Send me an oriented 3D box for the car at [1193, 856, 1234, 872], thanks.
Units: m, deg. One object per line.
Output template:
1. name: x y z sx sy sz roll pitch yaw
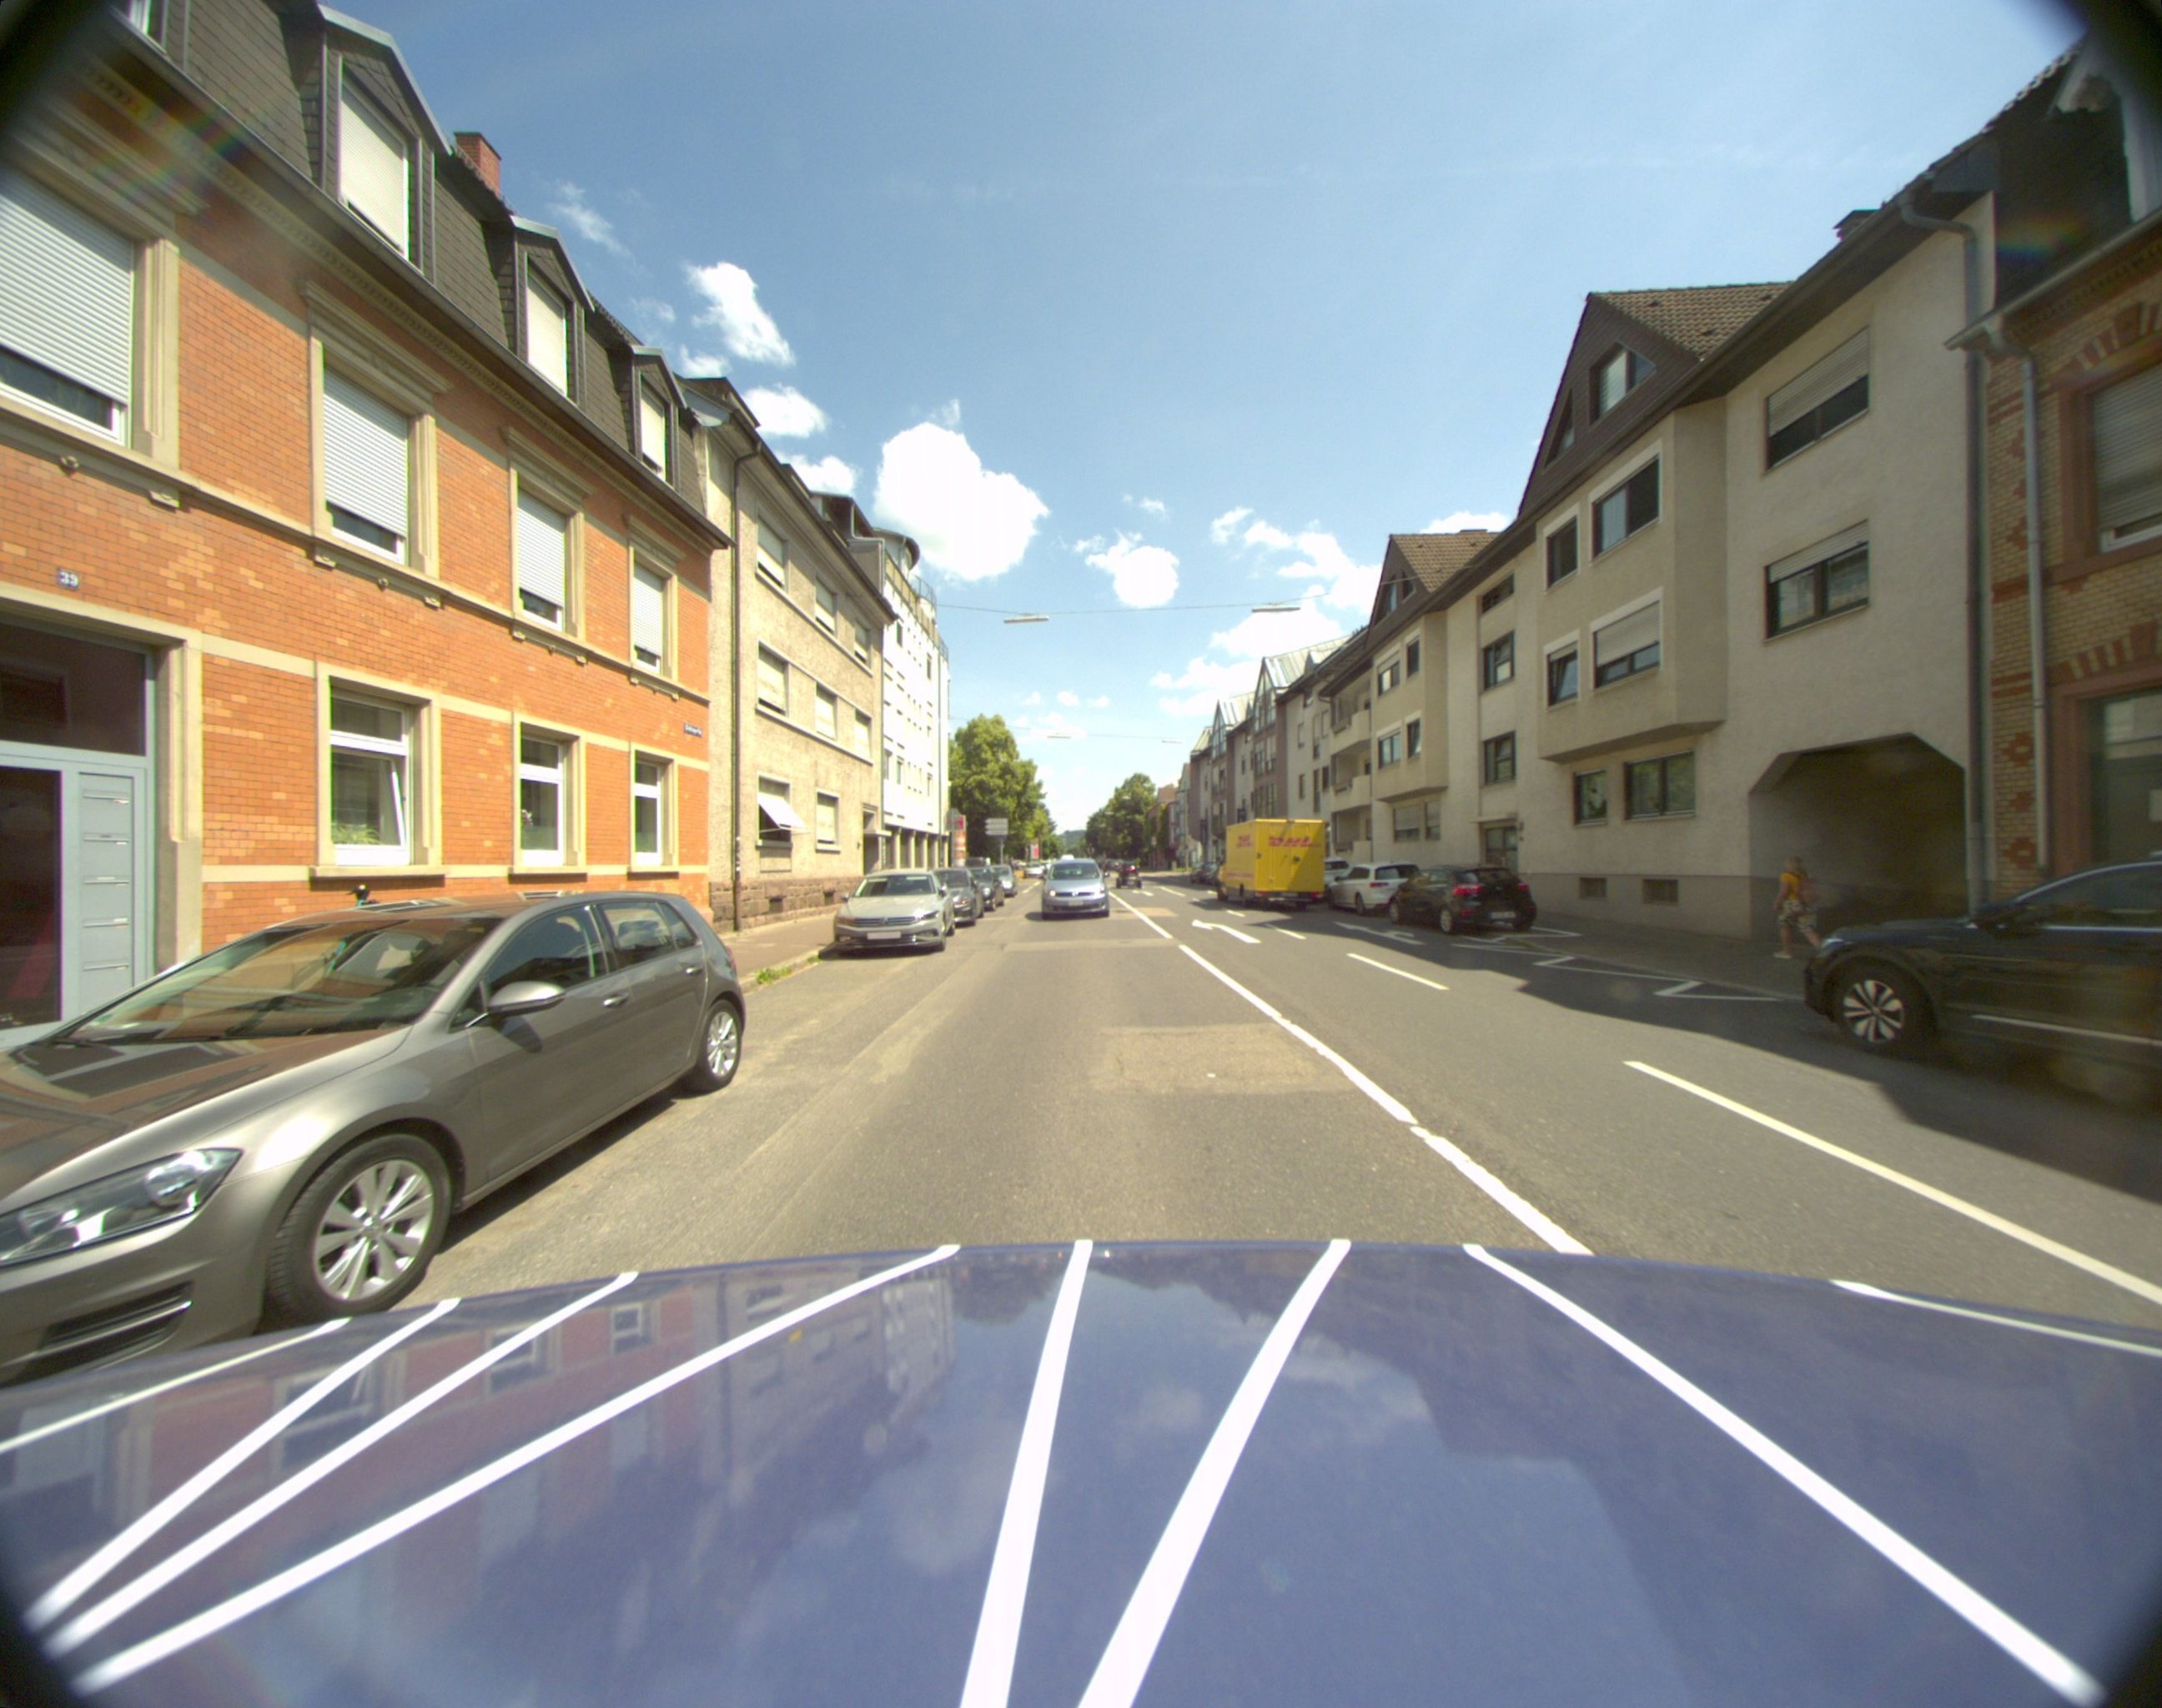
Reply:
1. car: 14.301 1.095 82.325 3.998 1.443 1.733 -3 -1 -3

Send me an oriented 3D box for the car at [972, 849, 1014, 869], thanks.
1. car: -10.341 0.587 89.077 4.614 2.263 2.106 -2 0 -1

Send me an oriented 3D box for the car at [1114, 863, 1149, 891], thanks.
1. car: 2.707 1.229 41.231 1.501 1.450 2.721 0 0 -5

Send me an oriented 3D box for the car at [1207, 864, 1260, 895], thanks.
1. car: 8.292 1.349 41.727 1.844 1.480 4.385 -2 0 -2

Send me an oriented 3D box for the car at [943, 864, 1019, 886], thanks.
1. car: -6.208 1.300 47.673 4.594 1.357 2.000 0 0 -3

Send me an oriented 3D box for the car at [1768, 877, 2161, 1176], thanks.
1. car: 6.938 1.027 4.402 1.844 1.587 4.502 2 0 1

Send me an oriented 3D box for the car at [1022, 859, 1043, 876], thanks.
1. car: -4.437 1.185 70.004 1.772 1.476 3.890 -1 0 -2

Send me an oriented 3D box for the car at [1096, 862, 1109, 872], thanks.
1. car: 3.181 1.958 112.466 1.747 1.411 4.223 2 0 1

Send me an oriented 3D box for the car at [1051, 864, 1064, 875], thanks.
1. car: -3.478 2.309 114.006 1.867 1.516 4.208 0 0 0

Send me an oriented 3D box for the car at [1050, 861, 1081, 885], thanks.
1. car: -1.088 1.371 55.488 1.998 1.652 4.626 1 0 2

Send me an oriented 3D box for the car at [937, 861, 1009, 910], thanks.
1. car: -3.476 0.984 25.238 1.716 1.464 4.438 0 0 0

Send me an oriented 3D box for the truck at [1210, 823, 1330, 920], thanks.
1. truck: 6.149 0.529 25.920 2.231 2.755 7.564 2 0 1

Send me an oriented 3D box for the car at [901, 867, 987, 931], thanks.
1. car: -3.377 1.069 19.412 1.656 1.411 4.047 0 0 -3

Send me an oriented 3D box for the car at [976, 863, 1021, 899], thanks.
1. car: -3.671 1.162 34.310 1.682 1.446 4.142 -1 0 -2

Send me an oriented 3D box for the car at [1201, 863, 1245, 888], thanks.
1. car: 8.701 1.279 46.973 1.844 1.375 4.326 -2 0 -1

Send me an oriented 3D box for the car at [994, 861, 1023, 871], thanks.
1. car: -10.146 1.736 106.534 3.849 1.350 1.628 -1 0 -10

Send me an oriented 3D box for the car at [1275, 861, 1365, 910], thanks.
1. car: 8.716 1.105 28.133 1.844 1.586 4.386 -2 0 -1

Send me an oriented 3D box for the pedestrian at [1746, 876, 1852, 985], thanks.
1. pedestrian: 10.338 1.070 10.977 0.609 1.486 0.971 -1 0 2

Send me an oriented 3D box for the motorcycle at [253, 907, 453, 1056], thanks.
1. motorcycle: -6.933 1.163 7.331 0.597 1.217 1.361 0 0 1

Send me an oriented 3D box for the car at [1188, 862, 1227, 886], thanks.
1. car: 8.607 1.332 52.108 1.844 1.439 4.969 -2 0 0

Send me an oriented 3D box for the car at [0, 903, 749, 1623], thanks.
1. car: -3.325 1.060 3.610 1.705 1.372 4.166 -1 0 -1

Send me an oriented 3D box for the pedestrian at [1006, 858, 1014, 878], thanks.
1. pedestrian: -6.511 1.293 69.764 0.618 1.754 0.737 -1 0 -2

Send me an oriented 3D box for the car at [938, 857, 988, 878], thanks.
1. car: -10.010 1.128 64.723 3.998 1.740 2.016 -1 0 -2

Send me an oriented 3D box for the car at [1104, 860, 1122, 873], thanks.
1. car: 3.986 1.594 95.045 1.817 1.611 4.441 1 -1 -2

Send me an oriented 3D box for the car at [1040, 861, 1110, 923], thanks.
1. car: -0.179 0.973 21.025 1.747 1.513 4.223 0 0 -1

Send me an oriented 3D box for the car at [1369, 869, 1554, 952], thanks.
1. car: 8.382 1.162 17.281 1.844 1.479 4.502 -2 0 -1

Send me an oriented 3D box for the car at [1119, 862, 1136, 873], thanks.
1. car: 6.737 1.923 110.314 1.891 1.530 4.567 0 0 -3

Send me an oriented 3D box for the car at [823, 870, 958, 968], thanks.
1. car: -3.423 1.090 14.501 1.859 1.454 4.548 -1 0 -6

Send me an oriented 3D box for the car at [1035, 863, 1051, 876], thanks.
1. car: -4.266 1.693 85.285 1.667 1.419 4.000 0 0 0

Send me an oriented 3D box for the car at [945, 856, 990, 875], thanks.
1. car: -10.007 1.011 67.229 3.774 1.657 1.663 0 0 -6

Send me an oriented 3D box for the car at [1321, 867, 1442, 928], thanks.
1. car: 8.620 1.191 22.244 1.844 1.479 4.386 -2 0 1
